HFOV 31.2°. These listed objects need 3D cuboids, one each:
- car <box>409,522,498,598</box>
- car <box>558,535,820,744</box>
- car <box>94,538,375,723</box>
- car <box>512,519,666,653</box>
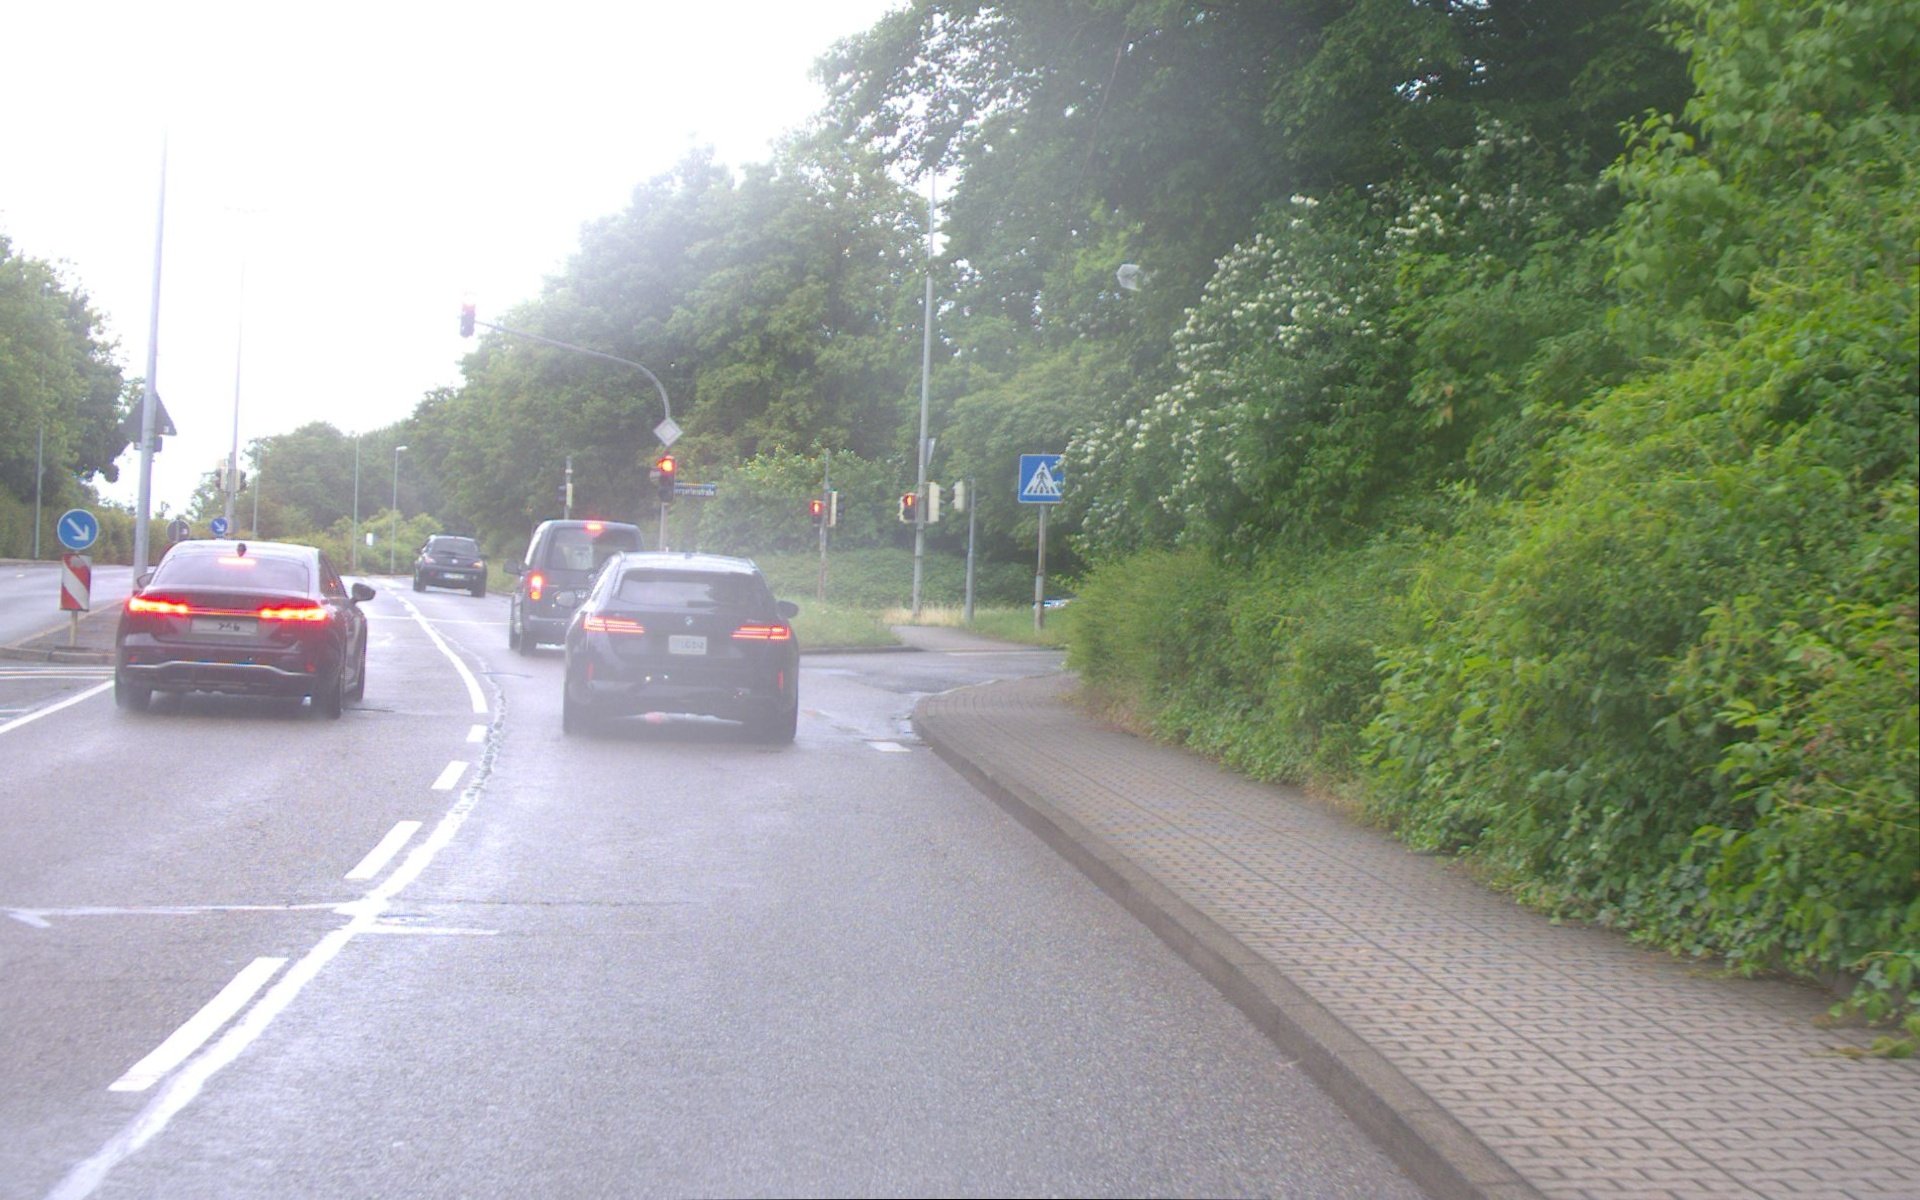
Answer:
[{"bbox_3d":[-12.711,-0.971,86.124,1.850,1.656,4.001,2,-3,-13],"label":"car"},{"bbox_3d":[-2.342,0.274,28.966,1.993,1.581,4.664,1,1,-6],"label":"car"},{"bbox_3d":[-6.203,0.205,29.885,1.905,1.393,4.858,3,1,-7],"label":"car"},{"bbox_3d":[-5.031,-0.190,46.865,1.993,1.743,4.001,0,0,-6],"label":"car"}]
